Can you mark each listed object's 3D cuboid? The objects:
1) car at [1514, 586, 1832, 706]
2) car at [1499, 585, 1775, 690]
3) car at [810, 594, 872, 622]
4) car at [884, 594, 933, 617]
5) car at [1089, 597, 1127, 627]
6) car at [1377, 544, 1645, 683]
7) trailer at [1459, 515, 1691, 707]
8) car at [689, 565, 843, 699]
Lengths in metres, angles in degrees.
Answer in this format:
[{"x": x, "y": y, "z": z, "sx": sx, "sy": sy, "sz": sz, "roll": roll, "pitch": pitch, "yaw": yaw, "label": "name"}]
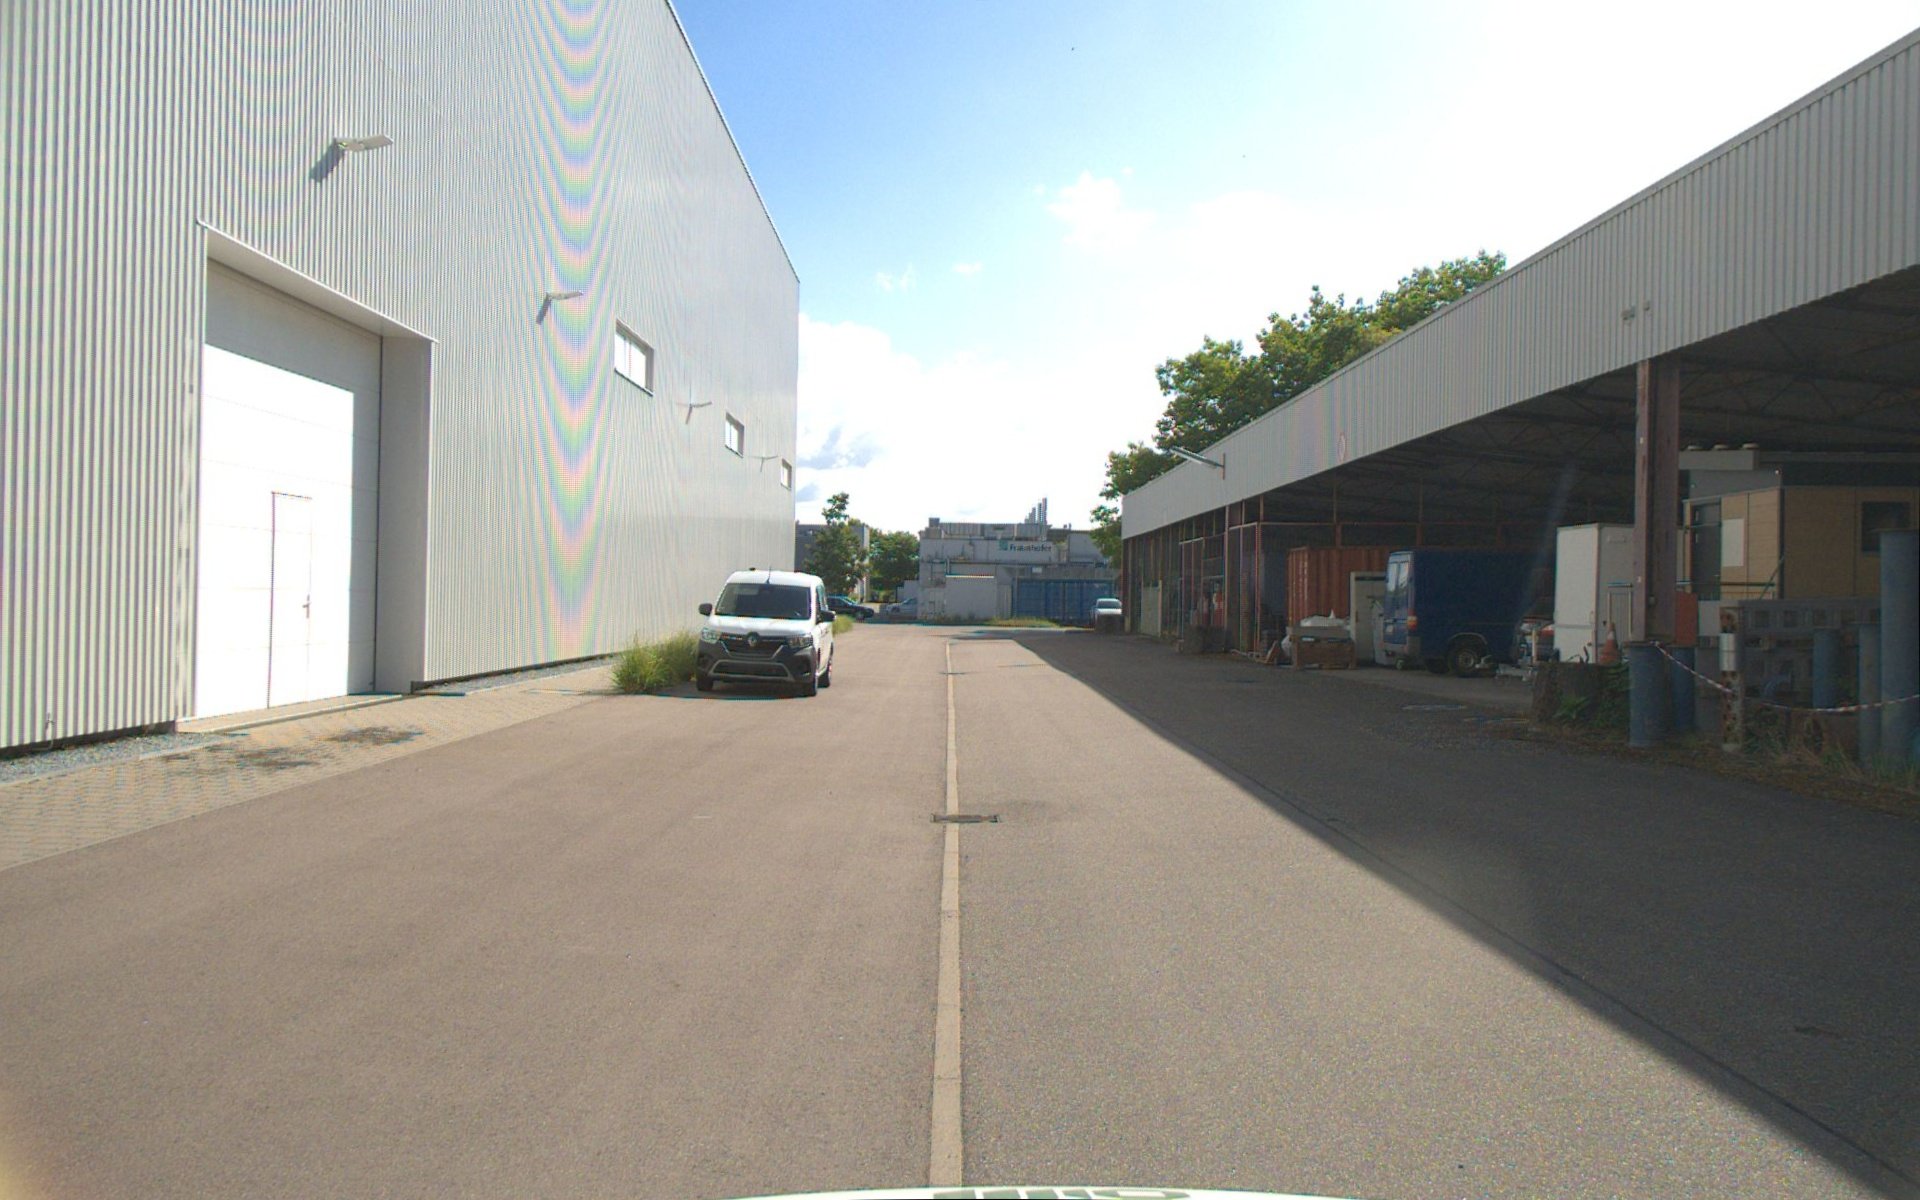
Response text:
[{"x": 10.474, "y": 0.685, "z": 24.474, "sx": 3.955, "sy": 1.551, "sz": 1.684, "roll": 2, "pitch": -2, "yaw": 0, "label": "car"}, {"x": 11.354, "y": 0.640, "z": 27.907, "sx": 3.955, "sy": 1.551, "sz": 1.684, "roll": 2, "pitch": -2, "yaw": 0, "label": "car"}, {"x": -7.746, "y": 0.508, "z": 107.681, "sx": 3.907, "sy": 1.626, "sz": 1.741, "roll": 2, "pitch": -2, "yaw": -2, "label": "car"}, {"x": -4.210, "y": 0.465, "z": 135.600, "sx": 3.906, "sy": 1.626, "sz": 1.847, "roll": 2, "pitch": -2, "yaw": -2, "label": "car"}, {"x": 8.513, "y": 0.683, "z": 95.444, "sx": 1.921, "sy": 1.592, "sz": 4.060, "roll": 2, "pitch": 1, "yaw": 1, "label": "car"}, {"x": 10.249, "y": 0.283, "z": 30.993, "sx": 4.342, "sy": 2.350, "sz": 1.915, "roll": 2, "pitch": -2, "yaw": 0, "label": "car"}, {"x": 8.185, "y": 0.155, "z": 22.185, "sx": 2.472, "sy": 2.441, "sz": 1.727, "roll": 1, "pitch": -1, "yaw": 0, "label": "trailer"}, {"x": -2.896, "y": 0.434, "z": 25.521, "sx": 1.781, "sy": 1.818, "sz": 4.405, "roll": 2, "pitch": 0, "yaw": 0, "label": "car"}]
